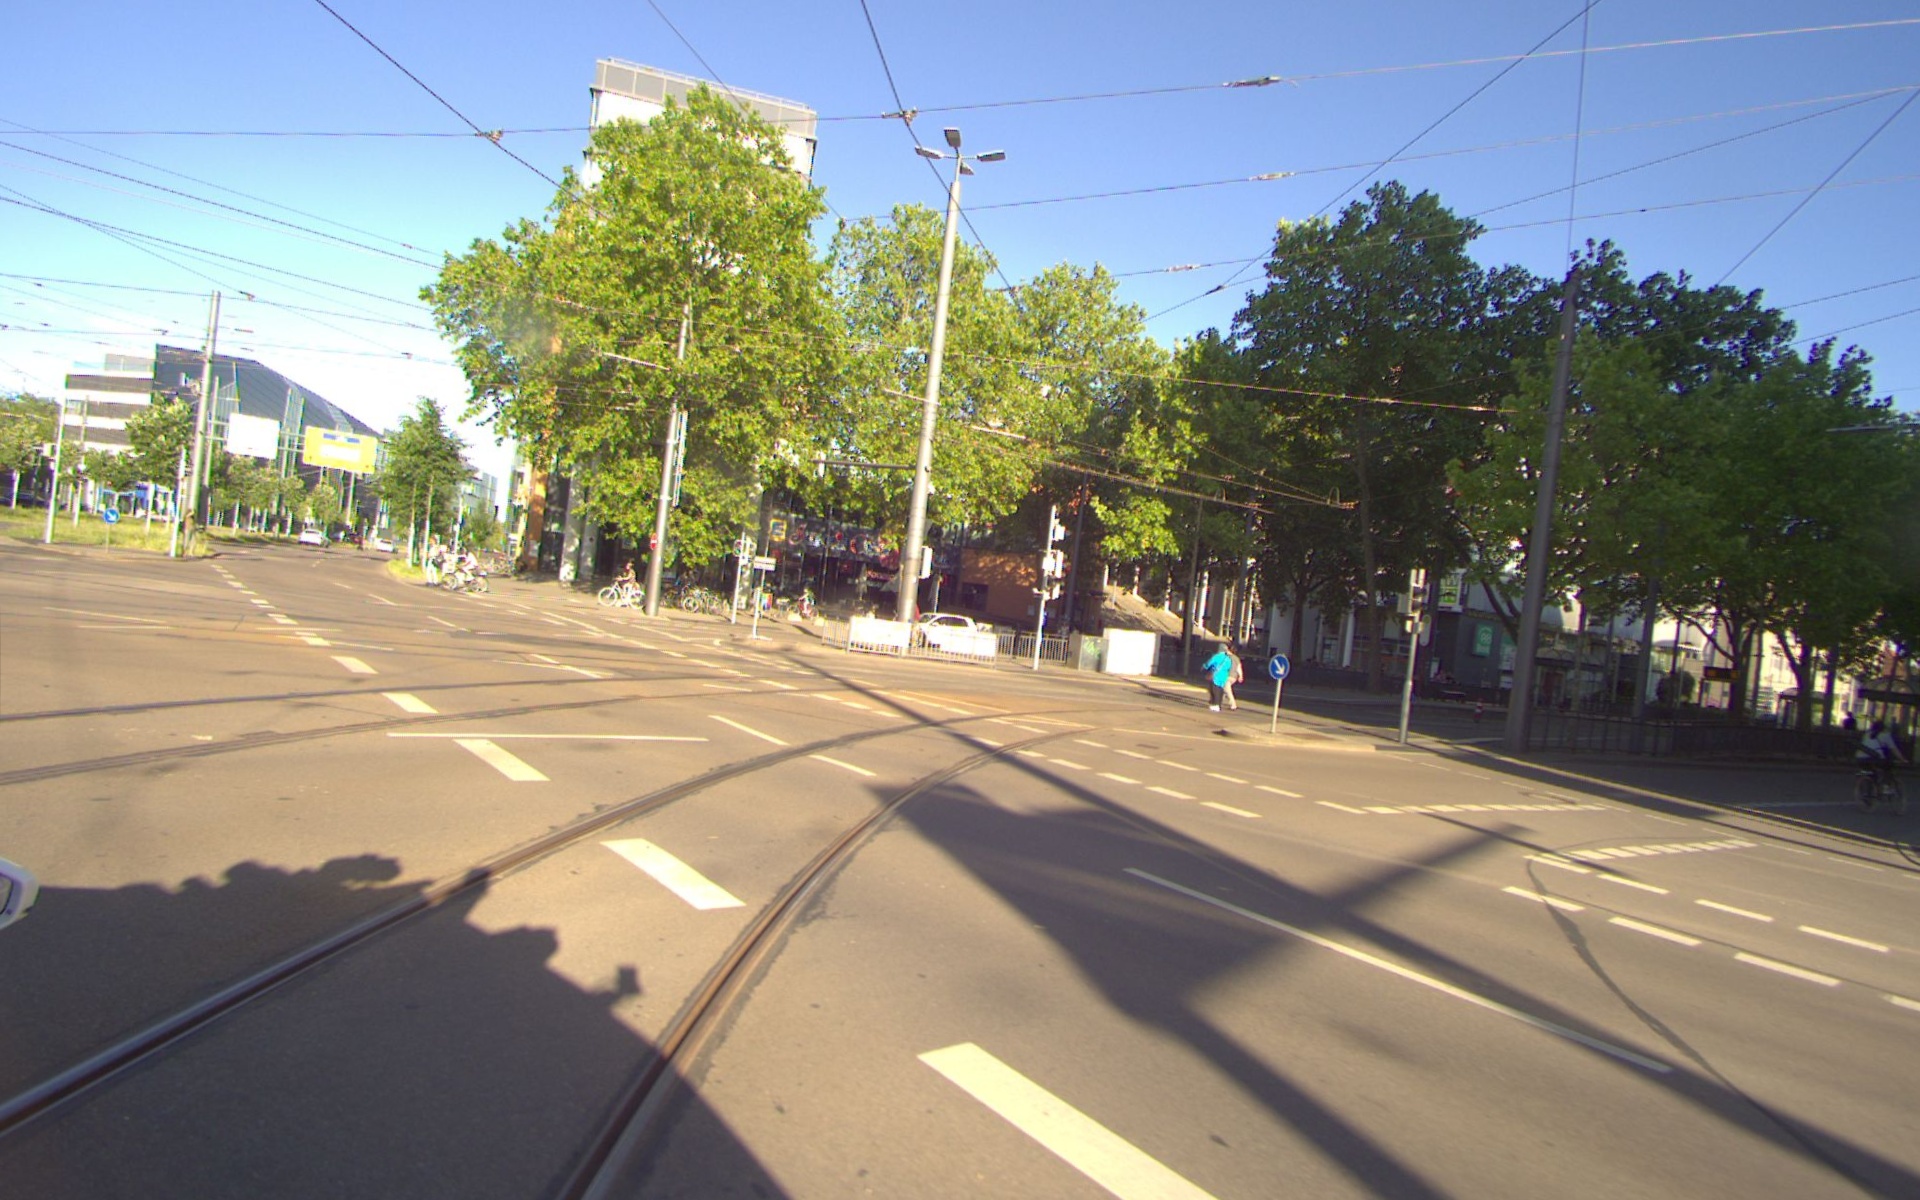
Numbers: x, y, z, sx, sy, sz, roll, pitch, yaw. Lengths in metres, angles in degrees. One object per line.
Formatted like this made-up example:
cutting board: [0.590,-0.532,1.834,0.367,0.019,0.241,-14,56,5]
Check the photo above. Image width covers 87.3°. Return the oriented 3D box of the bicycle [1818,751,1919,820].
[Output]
bicycle: [18.160,3.668,19.826,1.891,1.064,0.791,8,-1,-9]

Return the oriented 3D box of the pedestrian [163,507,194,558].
pedestrian: [-26.288,-2.270,33.856,0.654,1.601,0.484,7,1,-37]

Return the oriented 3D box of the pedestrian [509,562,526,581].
pedestrian: [-27.113,-1.729,61.624,0.775,1.070,0.811,7,0,-18]

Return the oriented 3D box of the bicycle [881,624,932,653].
bicycle: [-2.064,1.509,39.024,1.844,0.921,0.646,8,-1,-37]

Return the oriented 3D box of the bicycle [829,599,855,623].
bicycle: [-6.243,0.577,53.409,0.861,1.104,2.932,7,0,0]

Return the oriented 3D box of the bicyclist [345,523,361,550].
bicyclist: [-64.242,-6.687,106.423,1.006,2.657,1.464,7,0,-22]

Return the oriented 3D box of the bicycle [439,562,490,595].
bicycle: [-18.813,-0.817,38.168,1.616,1.034,0.512,7,0,-32]

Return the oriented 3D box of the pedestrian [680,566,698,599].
pedestrian: [-16.561,-1.080,61.474,0.837,1.873,0.807,9,-1,-16]

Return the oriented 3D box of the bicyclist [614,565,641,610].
bicyclist: [-13.332,-0.519,40.335,0.737,1.715,0.566,6,0,-30]

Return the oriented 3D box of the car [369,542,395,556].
car: [-68.006,-6.001,118.483,1.995,1.393,4.018,7,-1,-22]

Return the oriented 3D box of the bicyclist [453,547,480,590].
bicyclist: [-18.725,-1.187,38.187,0.737,1.521,0.565,6,0,-32]

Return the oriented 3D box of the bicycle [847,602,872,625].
bicycle: [-5.327,0.710,53.531,0.861,1.104,2.932,7,0,0]

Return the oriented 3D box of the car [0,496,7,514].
car: [-114.617,-11.468,118.056,3.924,2.038,2.001,7,0,13]

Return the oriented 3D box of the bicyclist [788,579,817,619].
bicyclist: [-8.419,-0.061,53.734,1.213,1.955,0.831,7,0,-20]

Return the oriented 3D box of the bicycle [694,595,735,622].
bicycle: [-10.998,0.385,45.077,1.690,0.998,0.388,7,0,-28]

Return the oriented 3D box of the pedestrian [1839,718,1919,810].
pedestrian: [18.143,3.212,19.824,0.824,1.612,0.771,8,-1,-10]

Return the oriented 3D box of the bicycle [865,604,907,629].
bicycle: [-3.908,0.904,53.409,0.862,1.104,2.932,8,0,22]

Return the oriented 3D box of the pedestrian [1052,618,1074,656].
pedestrian: [5.146,1.827,50.164,0.613,1.798,0.635,6,0,-41]

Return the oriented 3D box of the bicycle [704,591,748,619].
bicycle: [-10.129,0.220,43.582,1.690,0.998,0.388,7,0,-28]

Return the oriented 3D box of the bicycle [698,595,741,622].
bicycle: [-10.572,0.389,44.266,1.690,0.998,0.388,7,0,-28]

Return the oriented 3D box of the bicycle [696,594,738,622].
bicycle: [-10.801,0.357,44.680,1.690,0.998,0.388,7,0,-28]

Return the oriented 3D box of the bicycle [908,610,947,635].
bicycle: [-1.682,1.188,52.751,0.862,1.104,2.932,8,0,22]

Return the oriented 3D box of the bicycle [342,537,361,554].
bicycle: [-64.403,-5.719,106.458,1.006,1.599,3.556,7,0,-22]

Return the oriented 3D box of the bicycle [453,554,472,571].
bicycle: [-38.930,-2.968,78.754,1.032,1.146,3.155,7,-1,-30]

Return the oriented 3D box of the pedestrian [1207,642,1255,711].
pedestrian: [6.528,1.843,24.211,0.732,1.557,0.649,7,-1,41]

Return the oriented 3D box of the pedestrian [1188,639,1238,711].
pedestrian: [5.941,1.757,23.609,0.732,1.557,0.674,7,-1,41]

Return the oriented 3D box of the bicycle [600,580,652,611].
bicycle: [-13.373,-0.186,40.325,1.838,1.034,0.512,7,0,-30]

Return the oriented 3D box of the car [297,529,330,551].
car: [-57.514,-5.306,89.545,1.885,1.525,3.976,8,-2,-26]

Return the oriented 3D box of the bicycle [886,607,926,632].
bicycle: [-2.870,1.055,53.635,0.862,1.104,2.932,8,0,22]

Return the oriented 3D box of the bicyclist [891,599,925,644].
bicyclist: [-2.016,0.827,38.981,0.921,1.635,0.631,7,0,-37]

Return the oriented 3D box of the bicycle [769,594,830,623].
bicycle: [-8.573,0.471,53.698,3.008,1.127,0.831,8,0,-21]

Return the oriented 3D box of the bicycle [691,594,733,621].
bicycle: [-11.212,0.329,45.500,1.690,0.998,0.388,7,0,-28]

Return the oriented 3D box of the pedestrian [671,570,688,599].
pedestrian: [-15.999,-0.891,57.390,0.766,1.545,0.562,7,0,-15]

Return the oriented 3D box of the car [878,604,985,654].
car: [-1.156,1.209,42.276,3.968,1.503,1.980,9,-2,-37]

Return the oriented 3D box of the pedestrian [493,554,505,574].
pedestrian: [-37.734,-2.962,82.306,0.699,1.589,0.619,7,1,-24]

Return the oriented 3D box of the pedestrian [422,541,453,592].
pedestrian: [-20.397,-1.297,39.290,0.690,1.858,0.515,8,-1,-6]

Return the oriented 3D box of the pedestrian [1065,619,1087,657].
pedestrian: [5.711,1.890,49.673,0.613,1.798,0.635,6,0,-41]
